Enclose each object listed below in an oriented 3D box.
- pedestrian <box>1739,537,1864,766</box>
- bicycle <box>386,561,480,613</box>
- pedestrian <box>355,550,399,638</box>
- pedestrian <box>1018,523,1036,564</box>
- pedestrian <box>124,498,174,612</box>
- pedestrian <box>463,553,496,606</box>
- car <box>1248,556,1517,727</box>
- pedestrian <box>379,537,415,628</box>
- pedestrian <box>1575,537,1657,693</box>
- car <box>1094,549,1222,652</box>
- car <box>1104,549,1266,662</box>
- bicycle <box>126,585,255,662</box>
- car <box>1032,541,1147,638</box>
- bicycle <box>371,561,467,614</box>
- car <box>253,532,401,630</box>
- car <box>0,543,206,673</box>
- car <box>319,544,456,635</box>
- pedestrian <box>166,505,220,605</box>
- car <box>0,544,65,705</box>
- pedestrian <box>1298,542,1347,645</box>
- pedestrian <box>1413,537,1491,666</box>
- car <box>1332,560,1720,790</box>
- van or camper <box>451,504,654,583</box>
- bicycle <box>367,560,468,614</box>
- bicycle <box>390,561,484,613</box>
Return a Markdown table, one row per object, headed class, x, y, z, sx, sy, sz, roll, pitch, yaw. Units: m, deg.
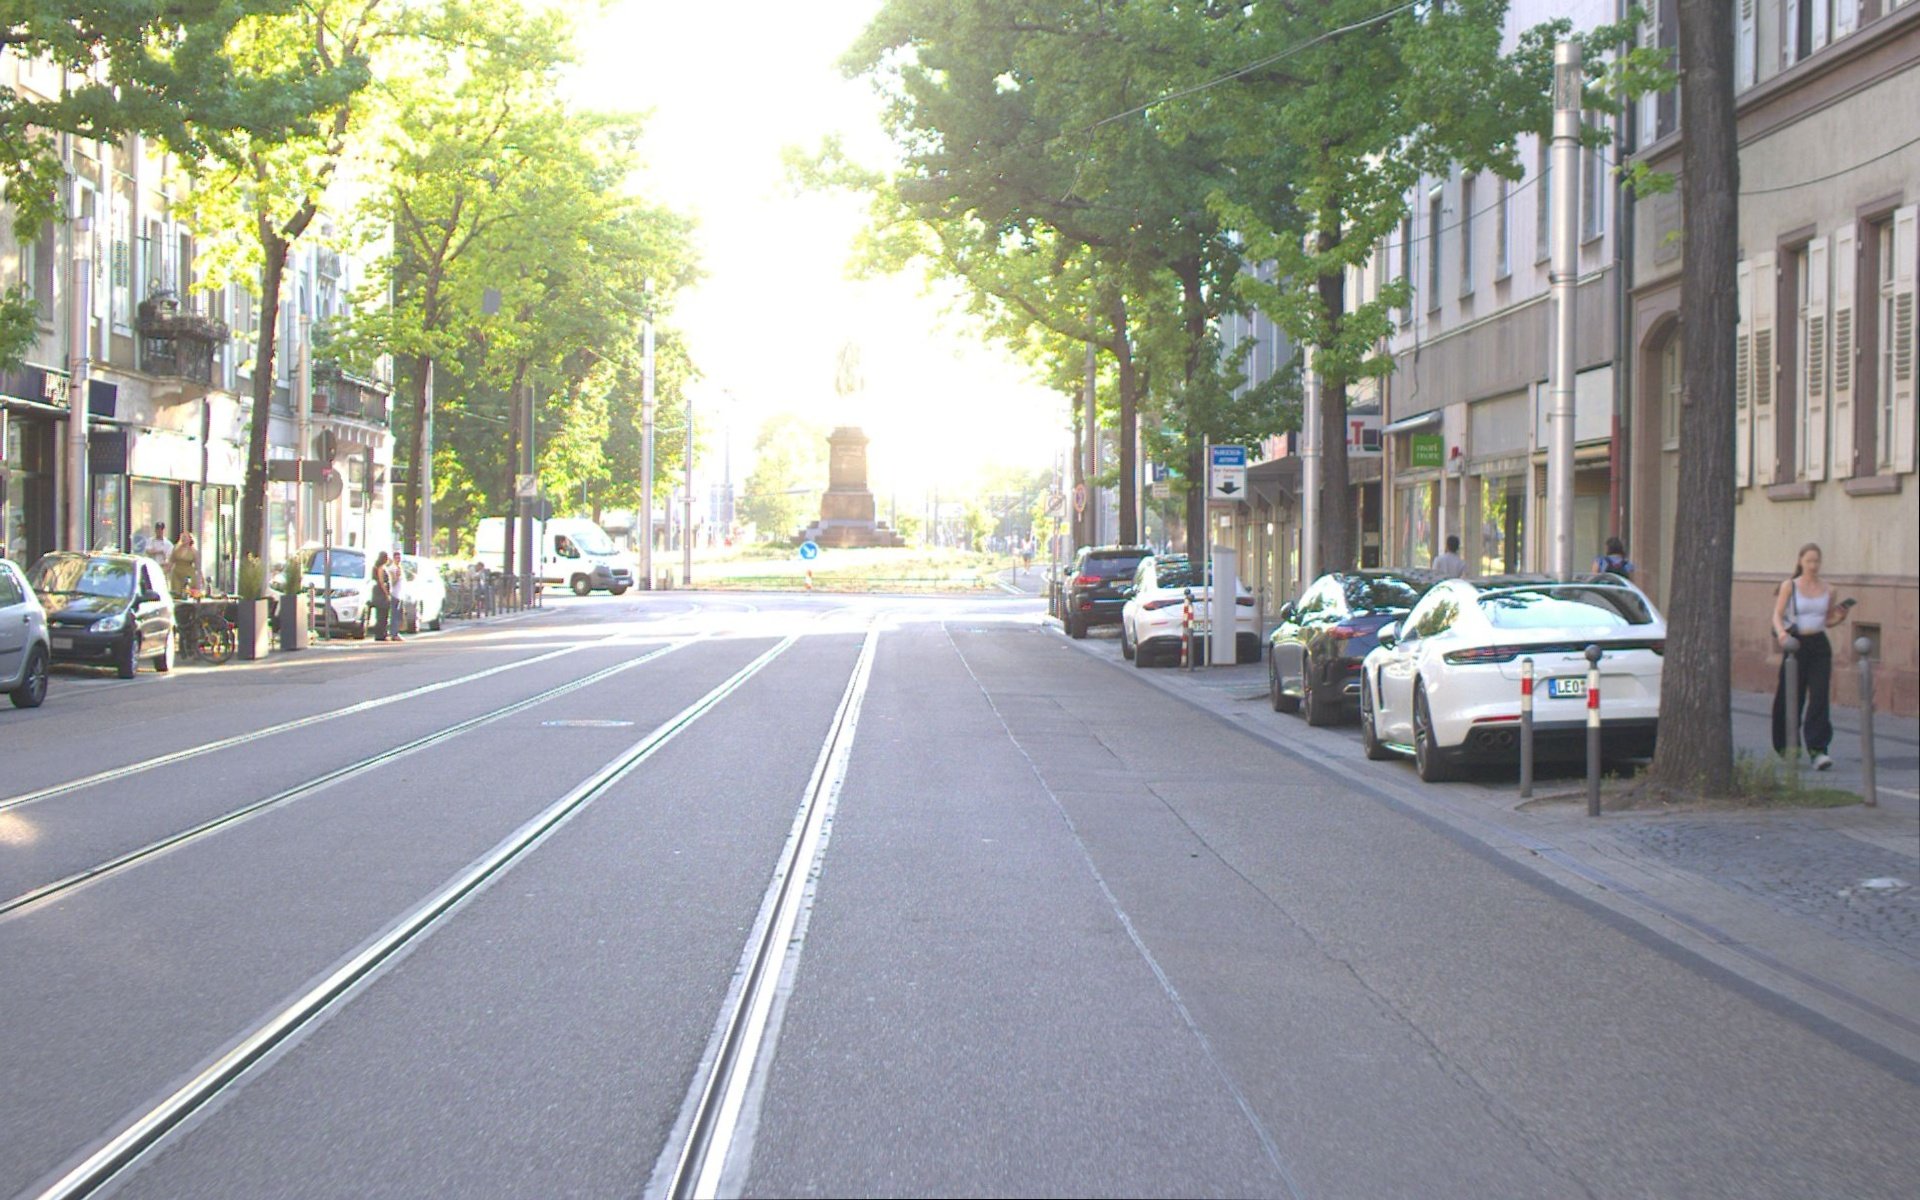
| class | x | y | z | sx | sy | sz | roll | pitch | yaw |
| --- | --- | --- | --- | --- | --- | --- | --- | --- | --- |
| pedestrian | 5.893 | 0.350 | 24.101 | 0.649 | 1.568 | 0.798 | 1 | 1 | -1 |
| bicycle | -12.076 | -0.298 | 78.832 | 2.024 | 1.101 | 0.501 | 2 | 0 | 2 |
| pedestrian | -9.973 | -0.102 | 58.834 | 0.620 | 1.504 | 0.729 | 0 | 0 | 0 |
| pedestrian | 2.656 | -2.217 | 135.662 | 0.636 | 1.600 | 0.772 | 0 | 1 | -3 |
| pedestrian | -14.406 | -0.801 | 61.089 | 0.722 | 2.007 | 0.643 | 1 | 1 | -1 |
| pedestrian | -11.900 | -0.519 | 85.127 | 0.728 | 1.286 | 0.857 | 1 | 1 | -3 |
| car | 3.977 | 0.340 | 33.130 | 1.833 | 1.473 | 4.762 | -2 | 1 | -2 |
| pedestrian | -9.768 | -0.300 | 59.671 | 0.521 | 1.564 | 0.634 | 0 | 0 | 0 |
| pedestrian | 7.142 | 0.157 | 37.452 | 0.658 | 1.659 | 0.888 | -2 | 1 | -2 |
| car | 3.330 | -0.020 | 58.537 | 1.776 | 1.585 | 3.892 | -3 | 1 | -2 |
| car | 3.279 | 0.041 | 50.933 | 1.993 | 1.493 | 4.680 | -3 | 1 | 0 |
| bicycle | -10.406 | 0.316 | 46.483 | 1.616 | 0.962 | 0.432 | 3 | 1 | 5 |
| car | 2.540 | -0.235 | 68.315 | 1.938 | 1.753 | 4.680 | -3 | 1 | -1 |
| bicycle | -12.081 | -0.273 | 76.746 | 2.023 | 1.101 | 0.501 | 2 | 0 | -26 |
| car | -11.356 | -0.368 | 61.907 | 1.836 | 1.575 | 4.116 | 4 | 1 | -1 |
| car | -10.502 | 0.066 | 42.203 | 1.665 | 1.423 | 3.828 | 3 | 1 | -2 |
| car | -11.139 | -0.230 | 67.165 | 1.836 | 1.575 | 4.702 | 4 | 1 | -1 |
| pedestrian | -13.625 | -0.795 | 61.091 | 0.722 | 1.754 | 1.090 | 1 | 1 | -1 |
| car | -9.797 | 0.213 | 31.653 | 1.767 | 1.492 | 4.174 | 1 | 0 | 4 |
| pedestrian | 5.954 | -0.112 | 56.459 | 0.643 | 1.664 | 0.786 | -3 | 1 | -1 |
| pedestrian | 6.884 | 0.017 | 48.138 | 0.858 | 1.747 | 0.933 | -3 | 1 | -1 |
| car | 3.967 | 0.462 | 24.923 | 1.912 | 1.415 | 4.888 | -2 | 1 | -1 |
| van or camper | -13.241 | -1.858 | 111.593 | 6.311 | 2.464 | 2.611 | 1 | 1 | 32 |
| bicycle | -12.014 | -0.289 | 76.141 | 2.108 | 1.101 | 0.501 | 2 | 0 | -26 |
| bicycle | -11.904 | -0.284 | 78.248 | 2.024 | 1.101 | 0.501 | 2 | 0 | 2 |
